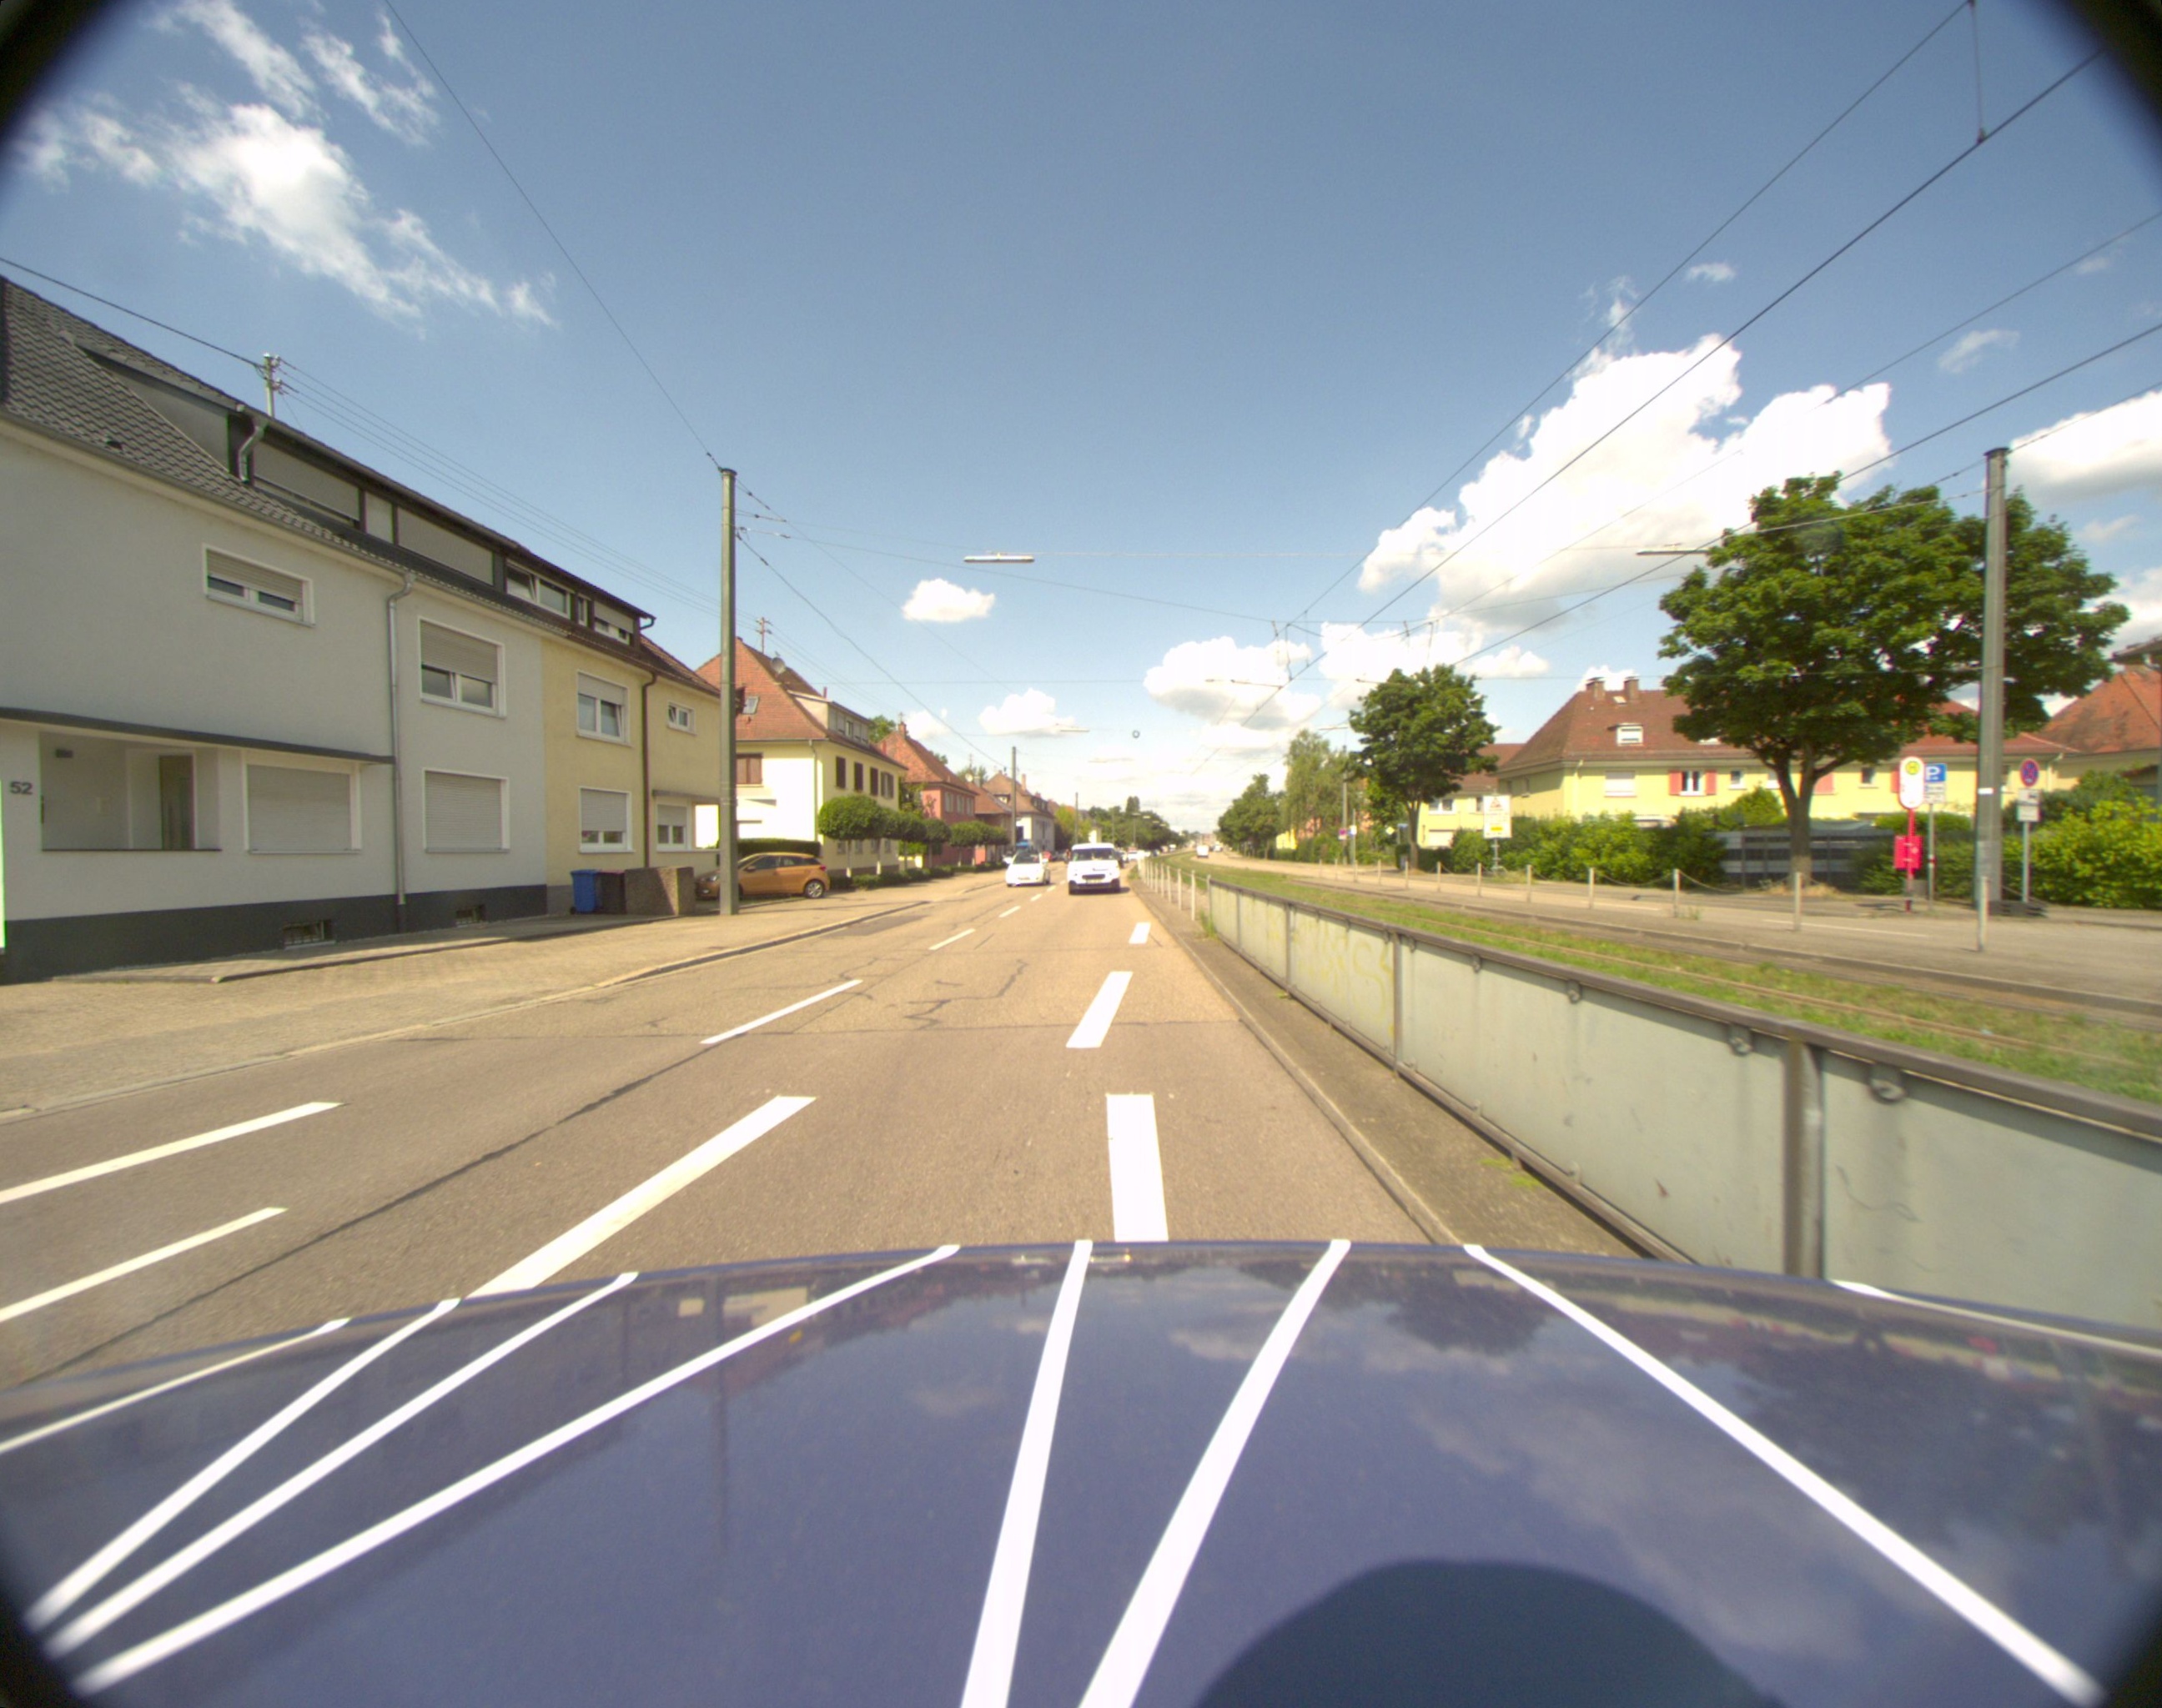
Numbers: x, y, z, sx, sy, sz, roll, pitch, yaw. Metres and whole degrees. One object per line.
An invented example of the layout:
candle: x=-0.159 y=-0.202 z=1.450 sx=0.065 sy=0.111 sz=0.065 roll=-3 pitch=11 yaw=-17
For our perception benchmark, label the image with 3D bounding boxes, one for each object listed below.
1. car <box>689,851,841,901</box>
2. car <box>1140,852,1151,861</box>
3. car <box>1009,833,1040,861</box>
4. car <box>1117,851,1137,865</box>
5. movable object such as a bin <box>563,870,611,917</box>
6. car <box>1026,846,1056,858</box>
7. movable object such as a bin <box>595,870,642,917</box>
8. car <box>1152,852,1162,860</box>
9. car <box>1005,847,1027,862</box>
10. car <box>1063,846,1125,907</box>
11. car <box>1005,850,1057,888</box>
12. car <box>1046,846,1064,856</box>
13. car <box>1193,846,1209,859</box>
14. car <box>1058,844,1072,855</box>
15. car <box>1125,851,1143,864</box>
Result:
car: x=-10.041 y=0.667 z=24.277 sx=4.101 sy=1.449 sz=1.911 roll=0 pitch=-1 yaw=-39
car: x=12.643 y=0.473 z=148.617 sx=1.997 sy=1.477 sz=4.001 roll=-2 pitch=1 yaw=8
car: x=-6.150 y=-0.825 z=83.768 sx=2.156 sy=2.913 sz=6.246 roll=-2 pitch=1 yaw=6
car: x=5.490 y=0.484 z=90.309 sx=1.997 sy=1.477 sz=4.001 roll=-2 pitch=1 yaw=8
movable object such as a bin: x=-11.610 y=0.913 z=17.883 sx=0.647 sy=1.049 sz=0.659 roll=-2 pitch=1 yaw=1
car: x=-5.265 y=-0.248 z=100.296 sx=3.657 sy=1.372 sz=1.727 roll=-1 pitch=2 yaw=4
movable object such as a bin: x=-10.903 y=0.915 z=17.910 sx=0.640 sy=1.041 sz=0.685 roll=-2 pitch=1 yaw=1
car: x=16.674 y=0.432 z=166.568 sx=1.997 sy=1.477 sz=4.001 roll=-2 pitch=1 yaw=8
car: x=-6.559 y=-0.011 z=76.893 sx=1.653 sy=1.401 sz=4.350 roll=-1 pitch=1 yaw=2
car: x=0.518 y=0.682 z=26.053 sx=1.777 sy=1.850 sz=4.376 roll=-2 pitch=1 yaw=5
car: x=-2.263 y=0.661 z=35.257 sx=1.777 sy=1.541 sz=4.001 roll=-3 pitch=1 yaw=5
car: x=-3.628 y=-0.437 z=105.935 sx=1.802 sy=1.415 sz=4.859 roll=0 pitch=1 yaw=6
car: x=22.782 y=-0.335 z=144.382 sx=2.201 sy=2.358 sz=5.332 roll=0 pitch=1 yaw=2
car: x=-2.398 y=-0.662 z=115.824 sx=1.760 sy=1.637 sz=4.769 roll=0 pitch=1 yaw=4
car: x=7.437 y=0.511 z=106.718 sx=1.997 sy=1.576 sz=4.002 roll=-2 pitch=1 yaw=10
